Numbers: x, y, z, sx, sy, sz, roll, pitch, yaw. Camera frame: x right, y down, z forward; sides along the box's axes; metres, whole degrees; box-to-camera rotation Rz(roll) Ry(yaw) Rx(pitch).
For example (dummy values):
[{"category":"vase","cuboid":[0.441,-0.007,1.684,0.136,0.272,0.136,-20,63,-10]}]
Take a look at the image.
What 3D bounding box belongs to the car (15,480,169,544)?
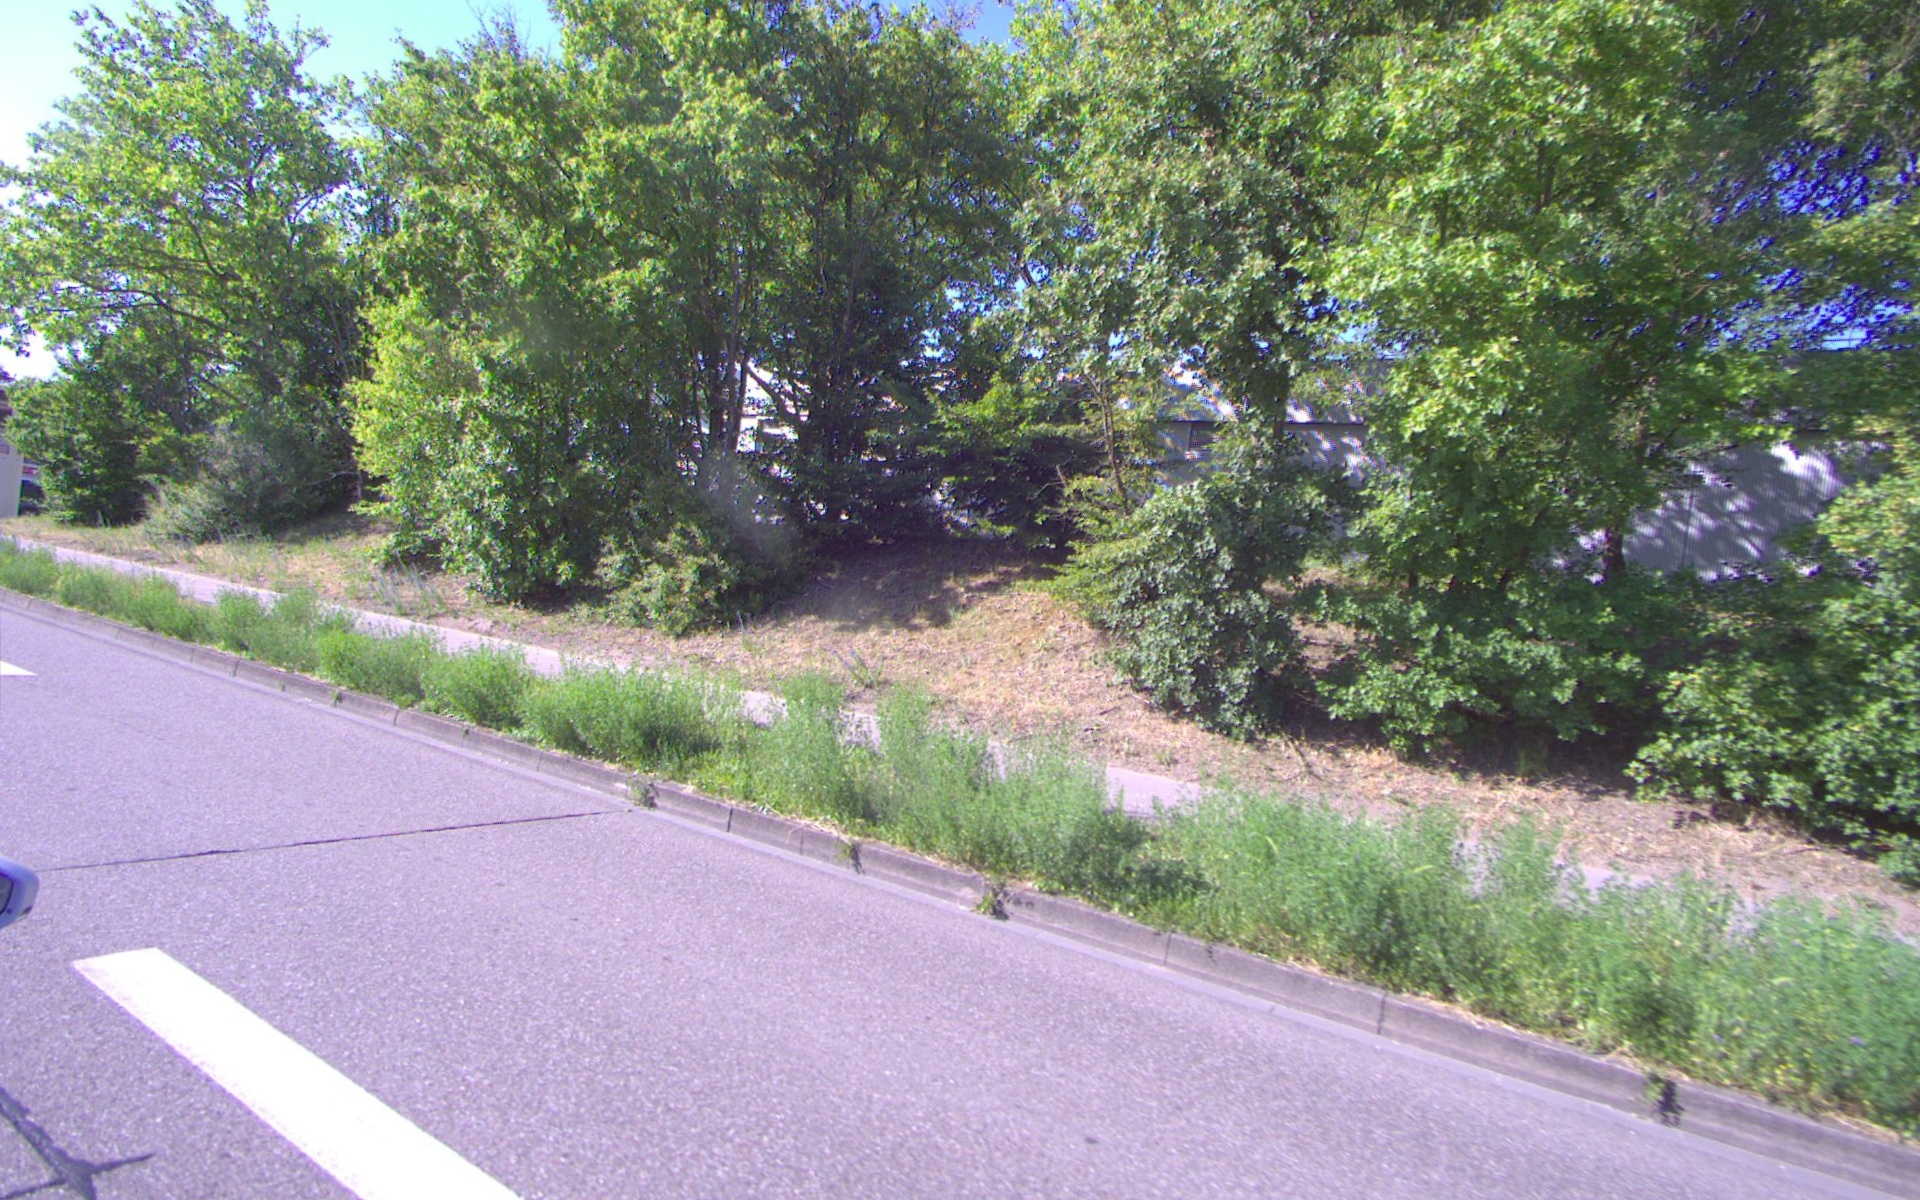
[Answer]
[{"category":"car","cuboid":[-36.761,-3.698,42.730,1.790,1.898,4.581,7,-1,37]}]
